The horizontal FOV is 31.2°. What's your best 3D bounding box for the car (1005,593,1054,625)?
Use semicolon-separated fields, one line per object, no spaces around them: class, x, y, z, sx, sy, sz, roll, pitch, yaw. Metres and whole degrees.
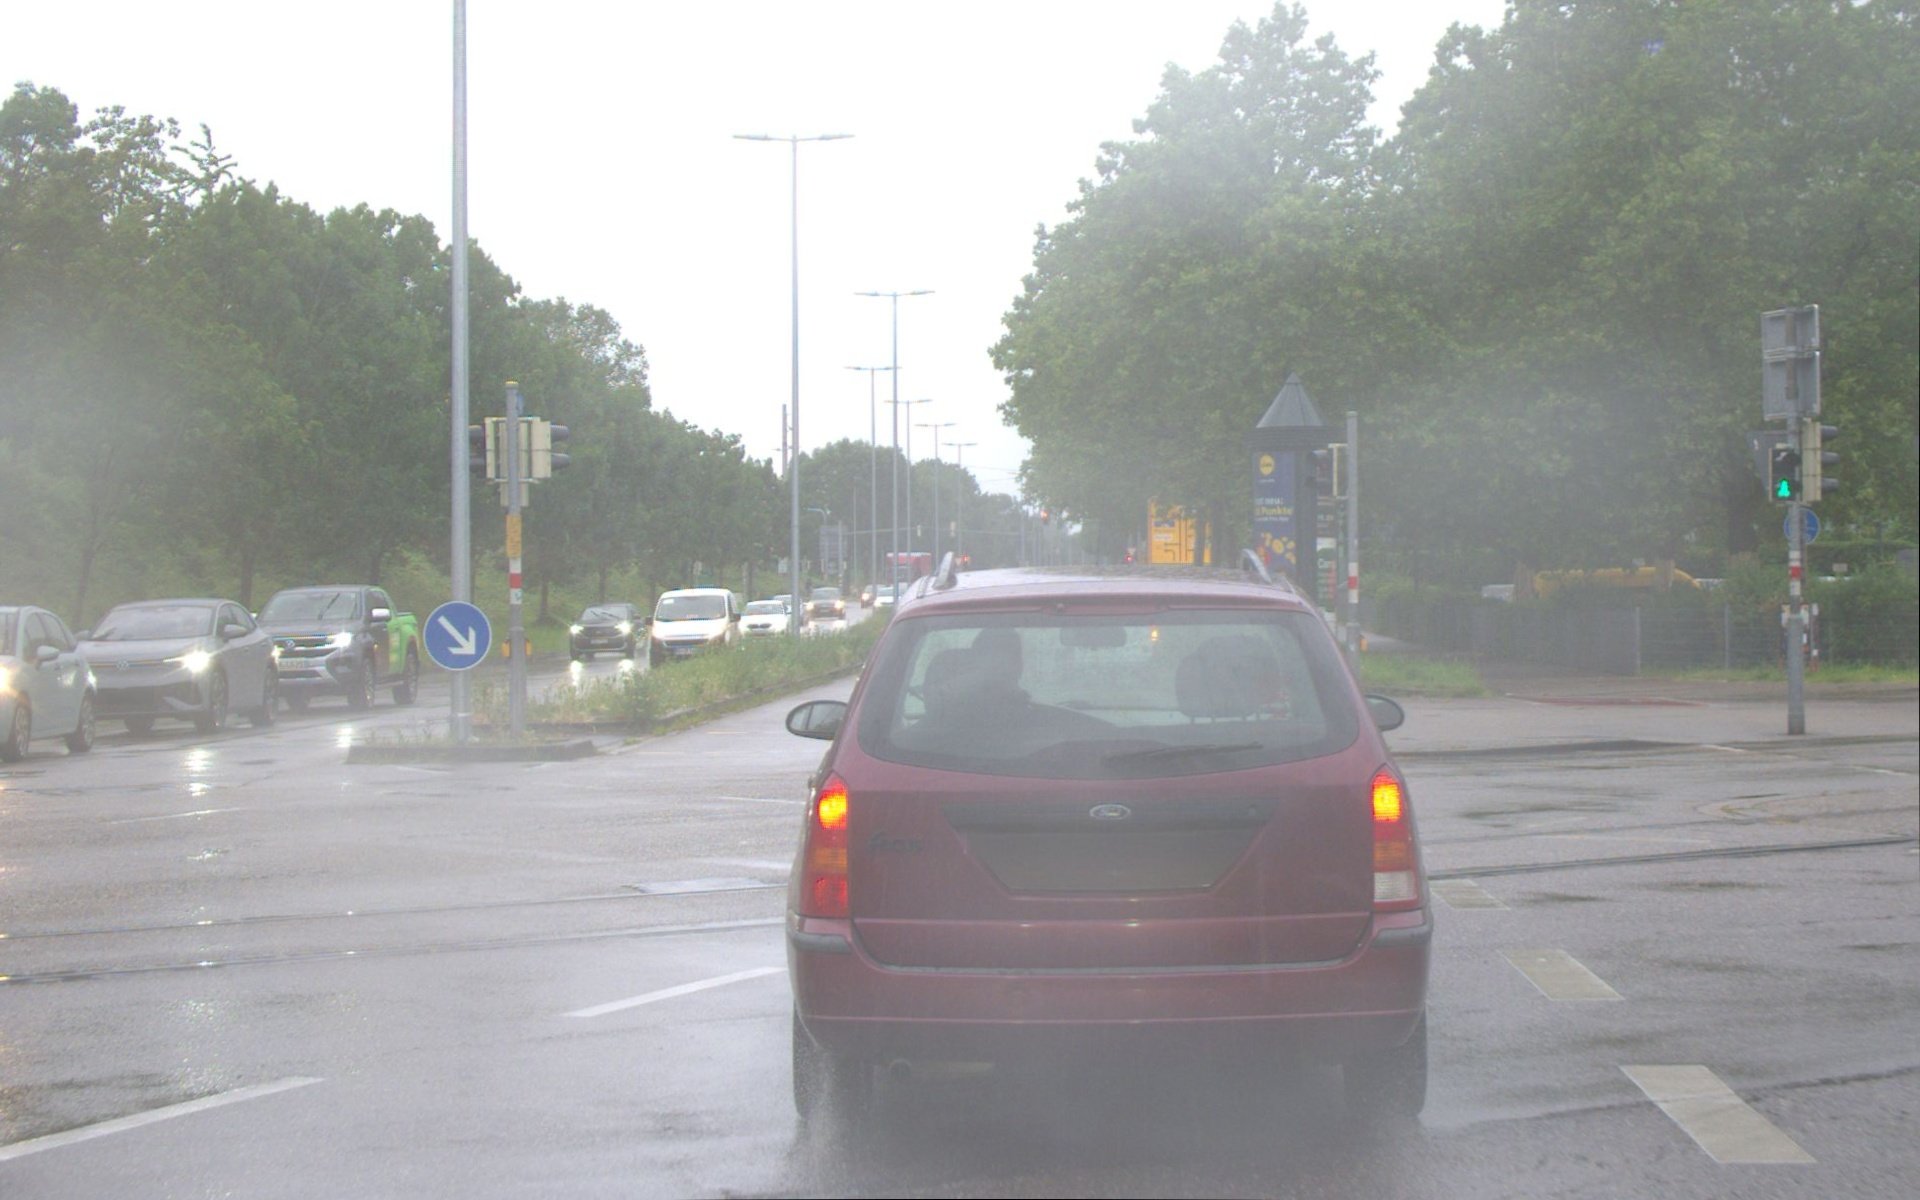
car;3.367;0.433;166.345;2.148;1.523;4.192;0;0;4

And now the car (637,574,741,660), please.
car;-5.696;0.345;72.731;1.743;1.696;4.284;-2;0;1

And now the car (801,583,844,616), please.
car;-7.012;-0.035;175.432;1.963;1.591;4.284;-1;0;1

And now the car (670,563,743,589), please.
car;-16.453;-1.560;222.934;4.270;1.591;1.969;-1;0;-33

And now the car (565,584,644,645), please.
car;-10.338;0.402;100.213;1.744;1.696;4.284;2;0;1

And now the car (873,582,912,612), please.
car;-3.748;-0.179;191.932;1.963;1.591;4.284;-1;0;2

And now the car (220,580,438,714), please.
car;-9.116;0.631;50.165;2.065;1.813;5.541;-1;0;1

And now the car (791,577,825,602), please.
car;-9.962;-0.669;224.938;1.963;1.591;4.284;-1;0;1

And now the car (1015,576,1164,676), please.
car;2.325;0.450;62.830;1.735;1.720;4.245;1;0;-12

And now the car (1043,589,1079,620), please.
car;5.088;0.231;173.002;1.698;1.523;3.845;0;0;3

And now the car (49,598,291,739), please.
car;-9.456;0.797;41.502;1.762;1.581;4.813;-1;0;0

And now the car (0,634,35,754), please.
car;-12.251;1.145;40.536;1.590;1.399;3.823;-1;0;1

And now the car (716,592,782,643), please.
car;-7.315;0.601;119.574;1.963;1.696;4.284;-1;0;1

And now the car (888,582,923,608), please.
car;-3.431;-0.332;216.733;1.963;1.591;4.284;-1;0;2

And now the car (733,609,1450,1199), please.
car;0.334;0.795;9.944;1.642;1.460;3.732;2;0;1

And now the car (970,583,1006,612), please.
car;1.504;-0.146;181.206;1.698;1.523;3.845;0;0;3

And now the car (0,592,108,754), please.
car;-9.550;0.674;33.420;1.638;1.468;3.965;-1;0;-2
